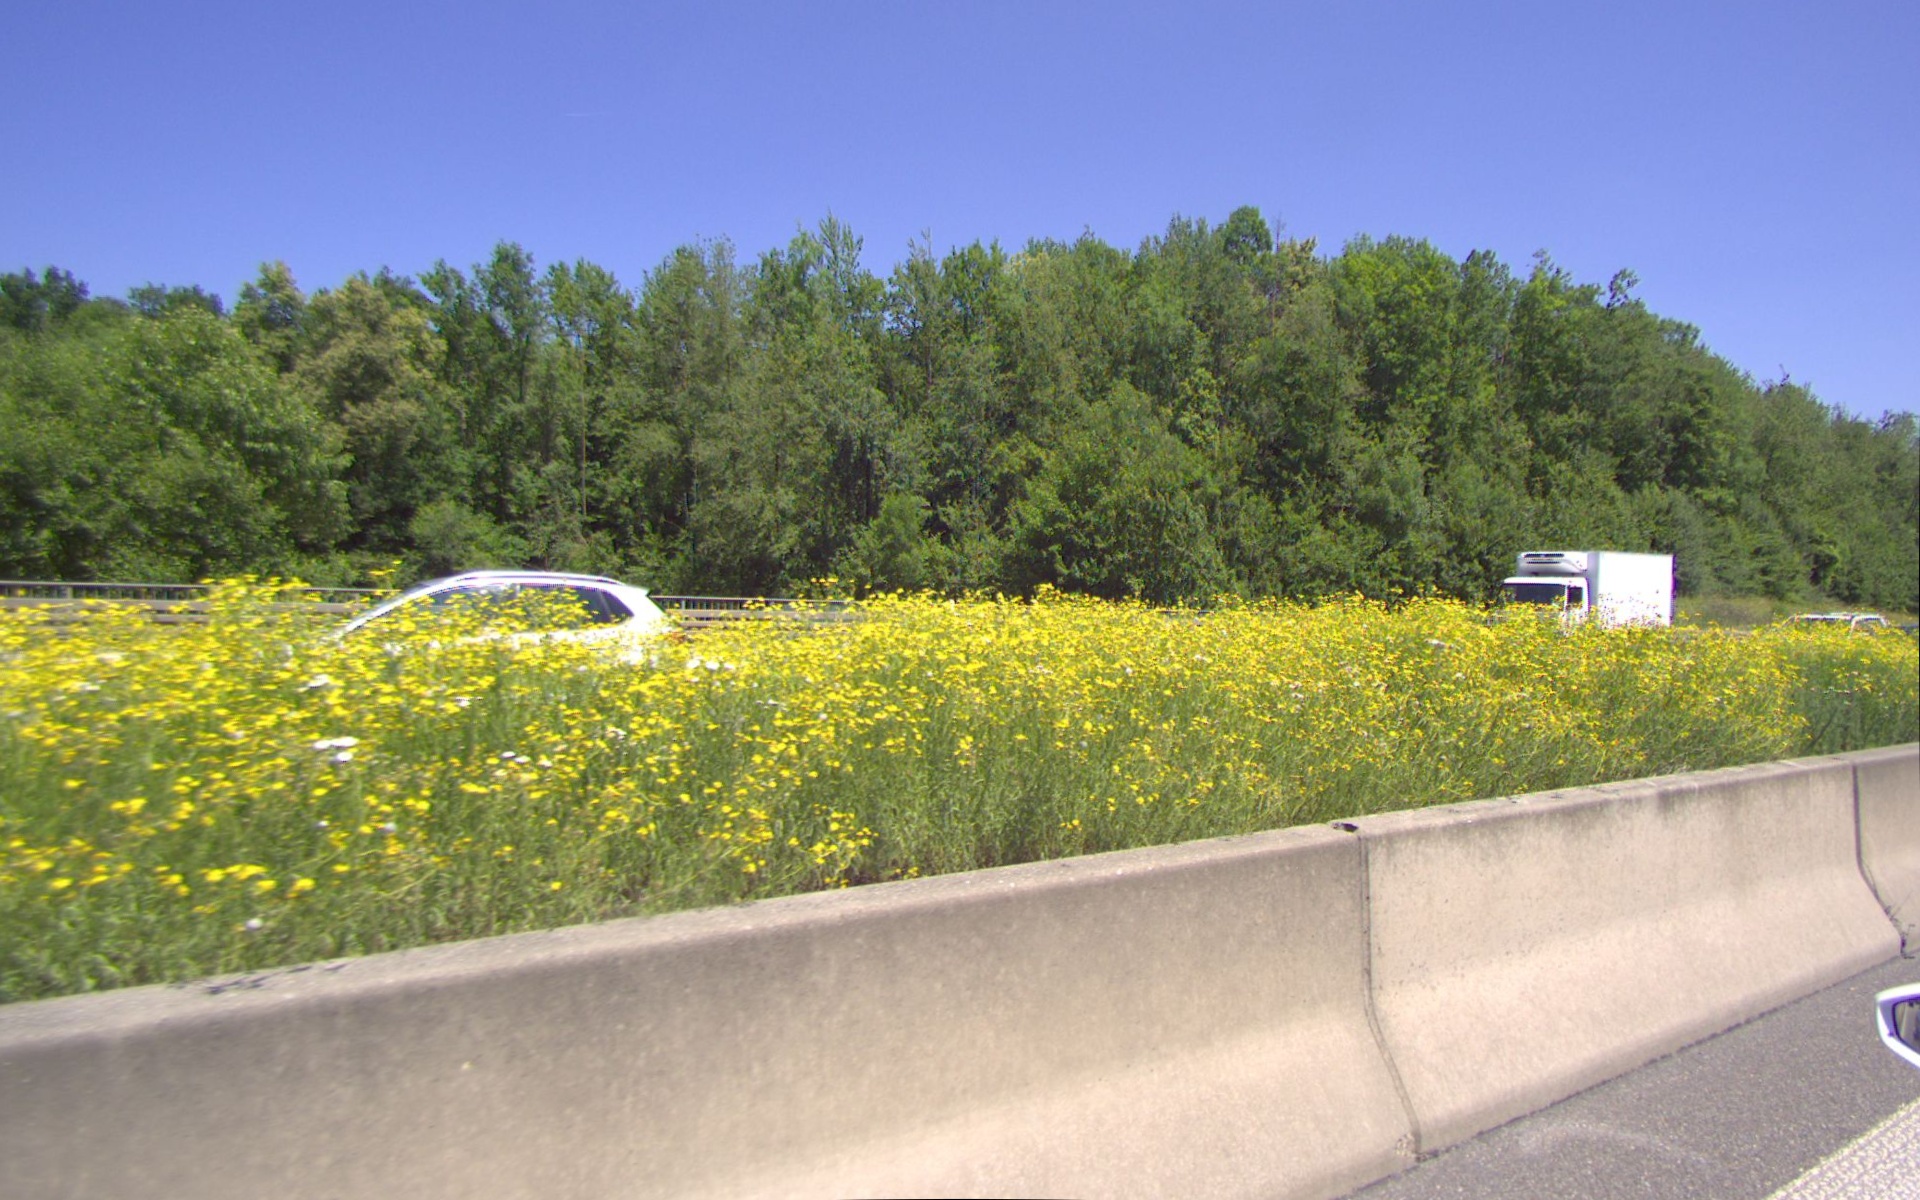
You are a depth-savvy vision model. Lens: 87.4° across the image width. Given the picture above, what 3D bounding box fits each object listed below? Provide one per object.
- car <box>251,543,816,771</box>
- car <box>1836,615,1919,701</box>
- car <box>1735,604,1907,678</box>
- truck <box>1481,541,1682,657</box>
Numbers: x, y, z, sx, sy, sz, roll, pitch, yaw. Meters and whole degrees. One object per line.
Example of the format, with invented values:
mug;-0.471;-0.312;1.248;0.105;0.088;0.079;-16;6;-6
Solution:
car;-3.507;0.414;8.690;4.107;1.565;1.778;1;1;-30
car;18.088;1.046;18.445;4.029;1.438;1.797;1;1;-30
car;22.240;1.025;25.926;4.477;1.724;1.984;1;1;-30
truck;20.830;0.016;33.545;7.233;3.521;2.721;1;1;-32
